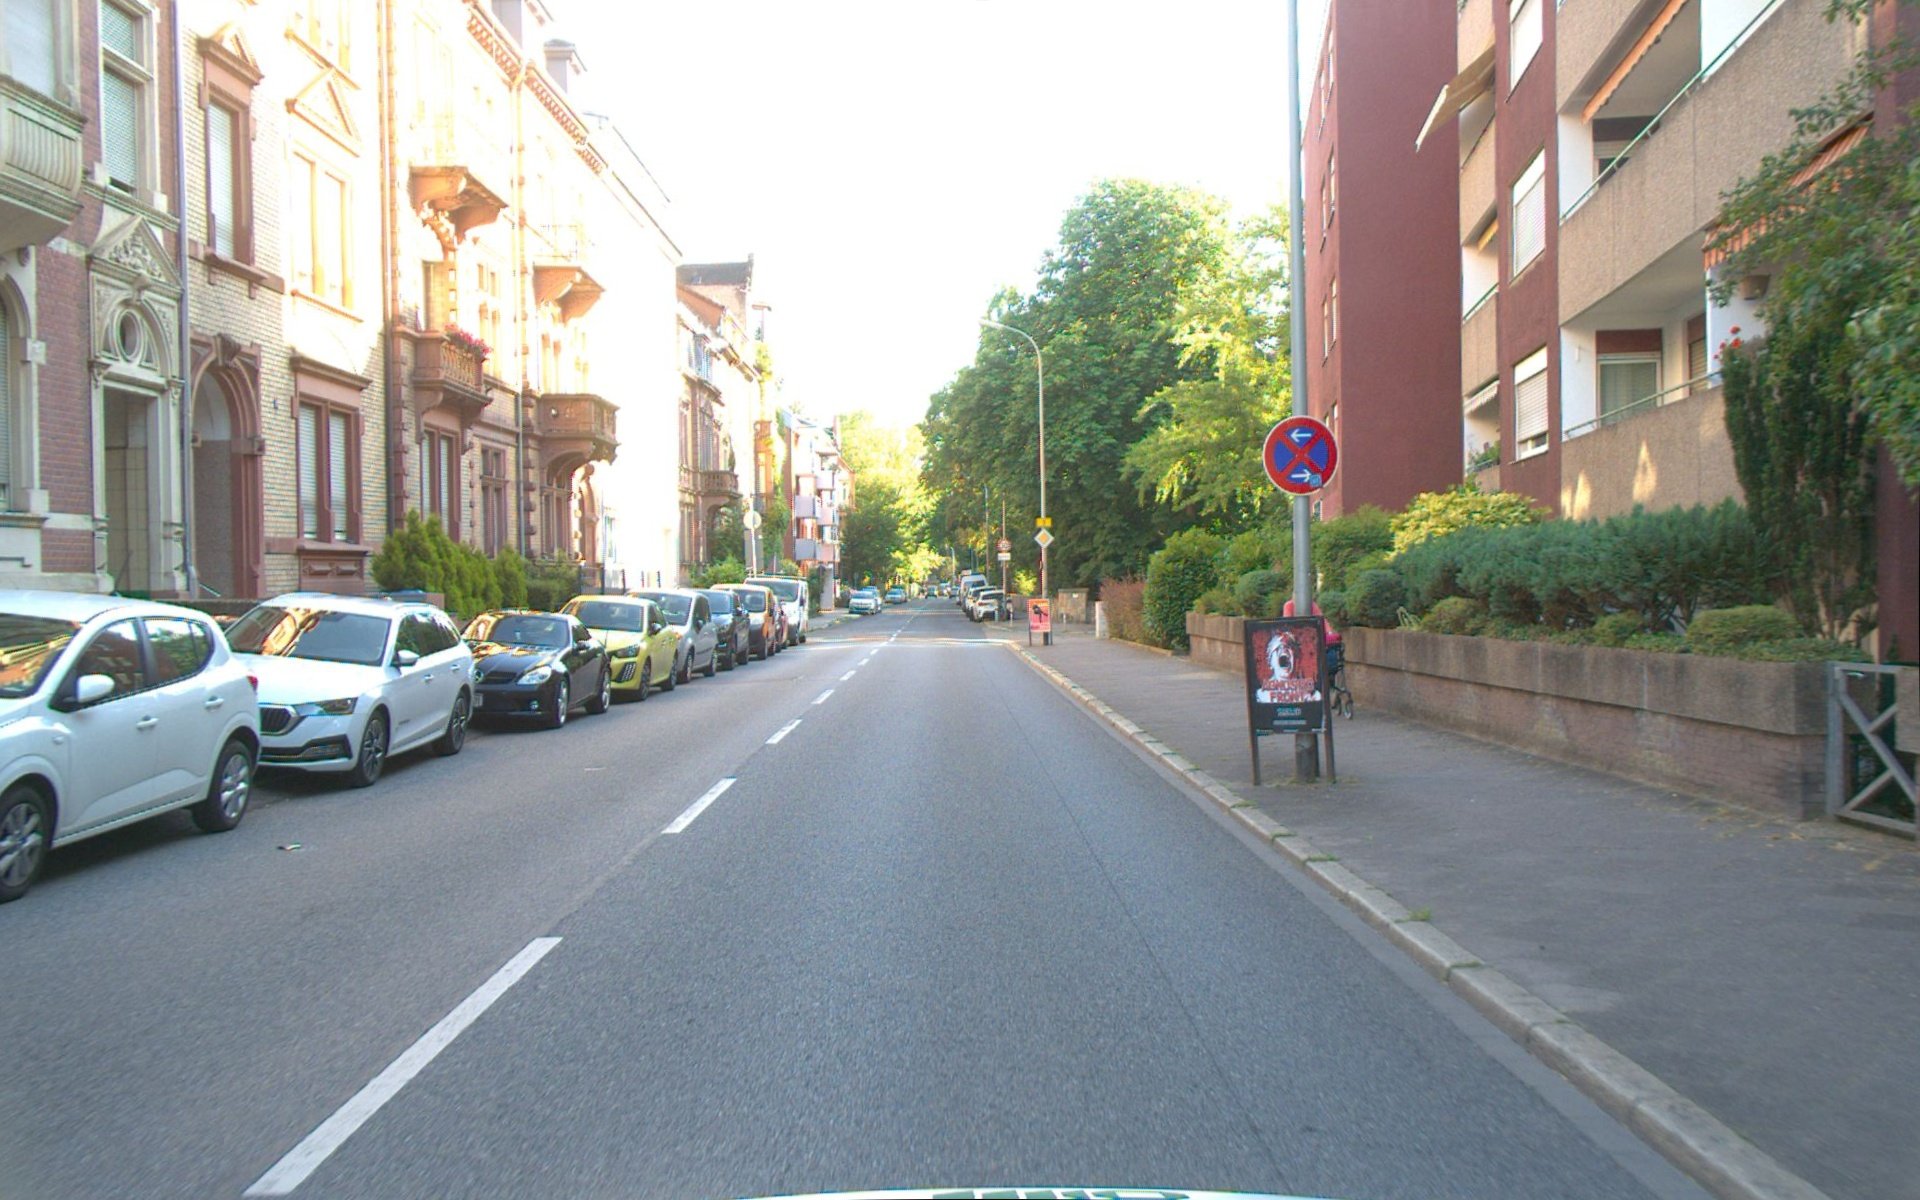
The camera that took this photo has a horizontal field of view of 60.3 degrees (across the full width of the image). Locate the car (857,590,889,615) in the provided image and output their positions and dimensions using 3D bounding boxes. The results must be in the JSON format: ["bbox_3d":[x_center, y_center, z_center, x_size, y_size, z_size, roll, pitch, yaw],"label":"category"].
[{"bbox_3d":[-5.855,0.166,111.965,1.953,1.517,4.470,-1,1,-1],"label":"car"}]

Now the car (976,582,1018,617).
[{"bbox_3d":[1.779,-0.029,79.902,1.952,1.544,4.001,-1,1,1],"label":"car"}]

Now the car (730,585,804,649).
[{"bbox_3d":[-5.229,0.437,45.283,1.668,1.648,4.116,1,1,-2],"label":"car"}]

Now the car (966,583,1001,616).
[{"bbox_3d":[1.370,-0.039,96.145,1.952,1.767,4.001,-1,1,1],"label":"car"}]

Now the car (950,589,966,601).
[{"bbox_3d":[-0.268,-0.654,226.578,1.954,1.517,4.467,-1,1,-4],"label":"car"}]

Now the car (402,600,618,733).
[{"bbox_3d":[-5.317,0.729,20.023,1.668,1.390,3.858,1,1,-2],"label":"car"}]

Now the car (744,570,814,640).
[{"bbox_3d":[-5.510,0.126,50.787,1.757,2.045,4.696,1,1,-2],"label":"car"}]

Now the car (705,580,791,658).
[{"bbox_3d":[-5.066,0.421,39.926,1.668,1.769,3.856,1,1,-2],"label":"car"}]

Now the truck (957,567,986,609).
[{"bbox_3d":[0.837,-0.887,120.917,1.953,2.947,4.470,-1,1,-1],"label":"truck"}]

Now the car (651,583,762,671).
[{"bbox_3d":[-5.320,0.507,35.182,1.667,1.737,4.440,1,1,0],"label":"car"}]

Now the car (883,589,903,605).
[{"bbox_3d":[-7.218,-0.345,178.868,1.953,1.517,4.470,-1,1,-1],"label":"car"}]

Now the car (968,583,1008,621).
[{"bbox_3d":[1.442,0.093,84.776,1.952,1.767,4.001,-1,1,1],"label":"car"}]

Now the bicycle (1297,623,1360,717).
[{"bbox_3d":[3.994,0.750,17.948,0.555,0.987,0.492,0,1,-3],"label":"bicycle"}]

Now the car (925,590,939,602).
[{"bbox_3d":[-4.030,-0.586,239.676,1.953,1.517,4.470,-1,1,-1],"label":"car"}]

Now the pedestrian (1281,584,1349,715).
[{"bbox_3d":[3.970,0.538,18.541,0.586,1.427,0.668,0,1,-3],"label":"pedestrian"}]

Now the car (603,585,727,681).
[{"bbox_3d":[-5.305,0.551,30.161,1.668,1.611,3.634,1,1,-1],"label":"car"}]

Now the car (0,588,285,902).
[{"bbox_3d":[-5.615,0.712,9.706,1.668,1.529,4.020,1,1,-1],"label":"car"}]

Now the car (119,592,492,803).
[{"bbox_3d":[-5.621,0.737,14.865,1.668,1.563,4.548,1,1,-2],"label":"car"}]

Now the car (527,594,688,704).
[{"bbox_3d":[-5.251,0.712,25.102,1.668,1.529,4.070,1,-1,-2],"label":"car"}]
